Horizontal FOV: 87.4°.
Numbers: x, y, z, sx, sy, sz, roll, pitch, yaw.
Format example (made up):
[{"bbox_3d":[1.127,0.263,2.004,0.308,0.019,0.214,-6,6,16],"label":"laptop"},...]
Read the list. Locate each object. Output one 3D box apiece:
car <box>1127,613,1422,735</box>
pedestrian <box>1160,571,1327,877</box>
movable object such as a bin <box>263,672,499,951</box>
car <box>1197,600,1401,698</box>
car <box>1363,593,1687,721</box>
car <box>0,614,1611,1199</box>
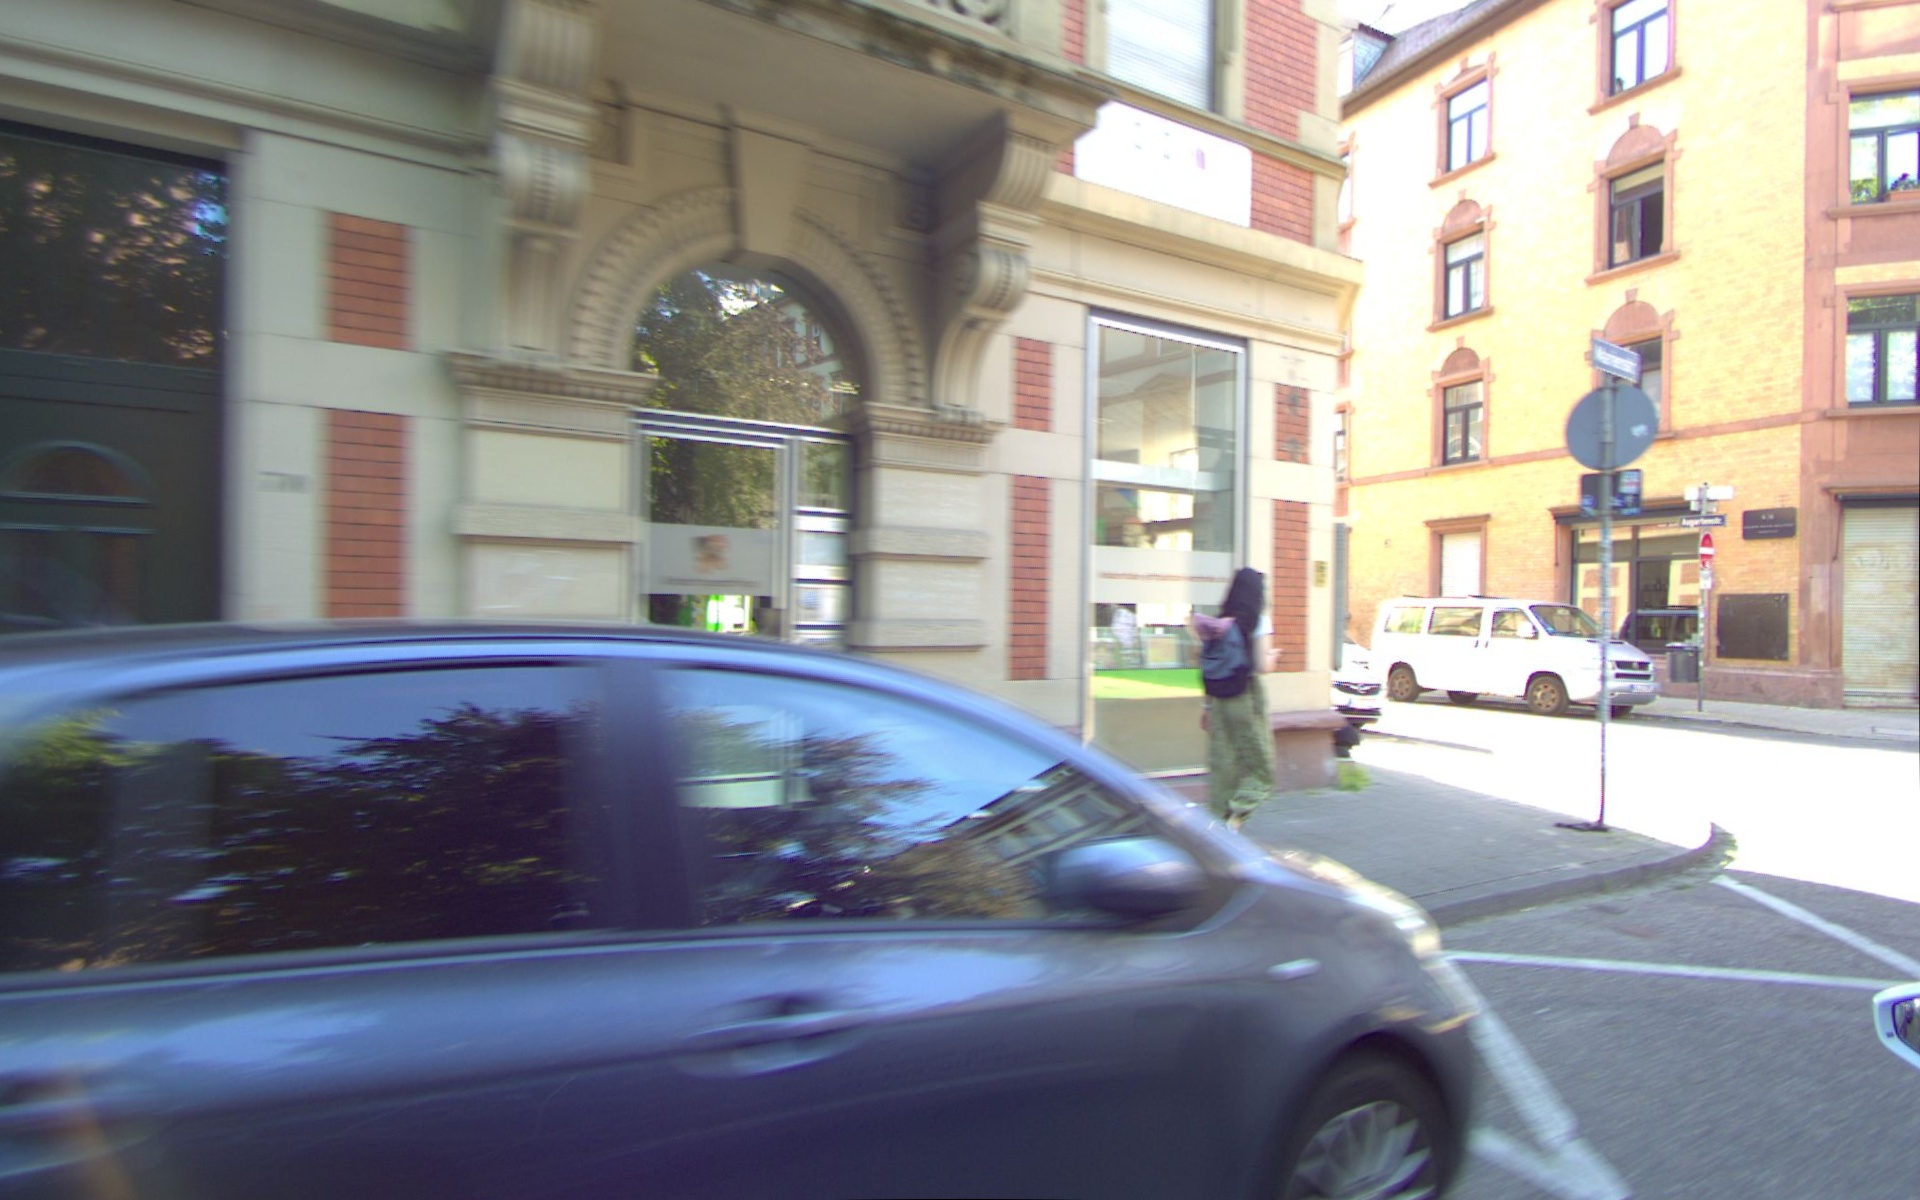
[{"bbox_3d":[4.586,1.038,15.406,1.842,1.550,4.416,4,-2,-24],"label":"car"},{"bbox_3d":[1.663,0.693,5.903,0.709,1.666,0.545,3,-1,-30],"label":"pedestrian"},{"bbox_3d":[-2.584,0.886,4.529,0.846,1.055,0.634,1,1,-30],"label":"movable object such as a bin"},{"bbox_3d":[7.471,1.045,22.631,1.913,1.919,4.339,4,-2,-23],"label":"car"},{"bbox_3d":[9.666,0.929,17.672,1.999,1.919,4.699,3,-2,-24],"label":"car"},{"bbox_3d":[-0.500,0.814,2.210,3.927,1.500,1.684,1,-3,-31],"label":"car"}]
